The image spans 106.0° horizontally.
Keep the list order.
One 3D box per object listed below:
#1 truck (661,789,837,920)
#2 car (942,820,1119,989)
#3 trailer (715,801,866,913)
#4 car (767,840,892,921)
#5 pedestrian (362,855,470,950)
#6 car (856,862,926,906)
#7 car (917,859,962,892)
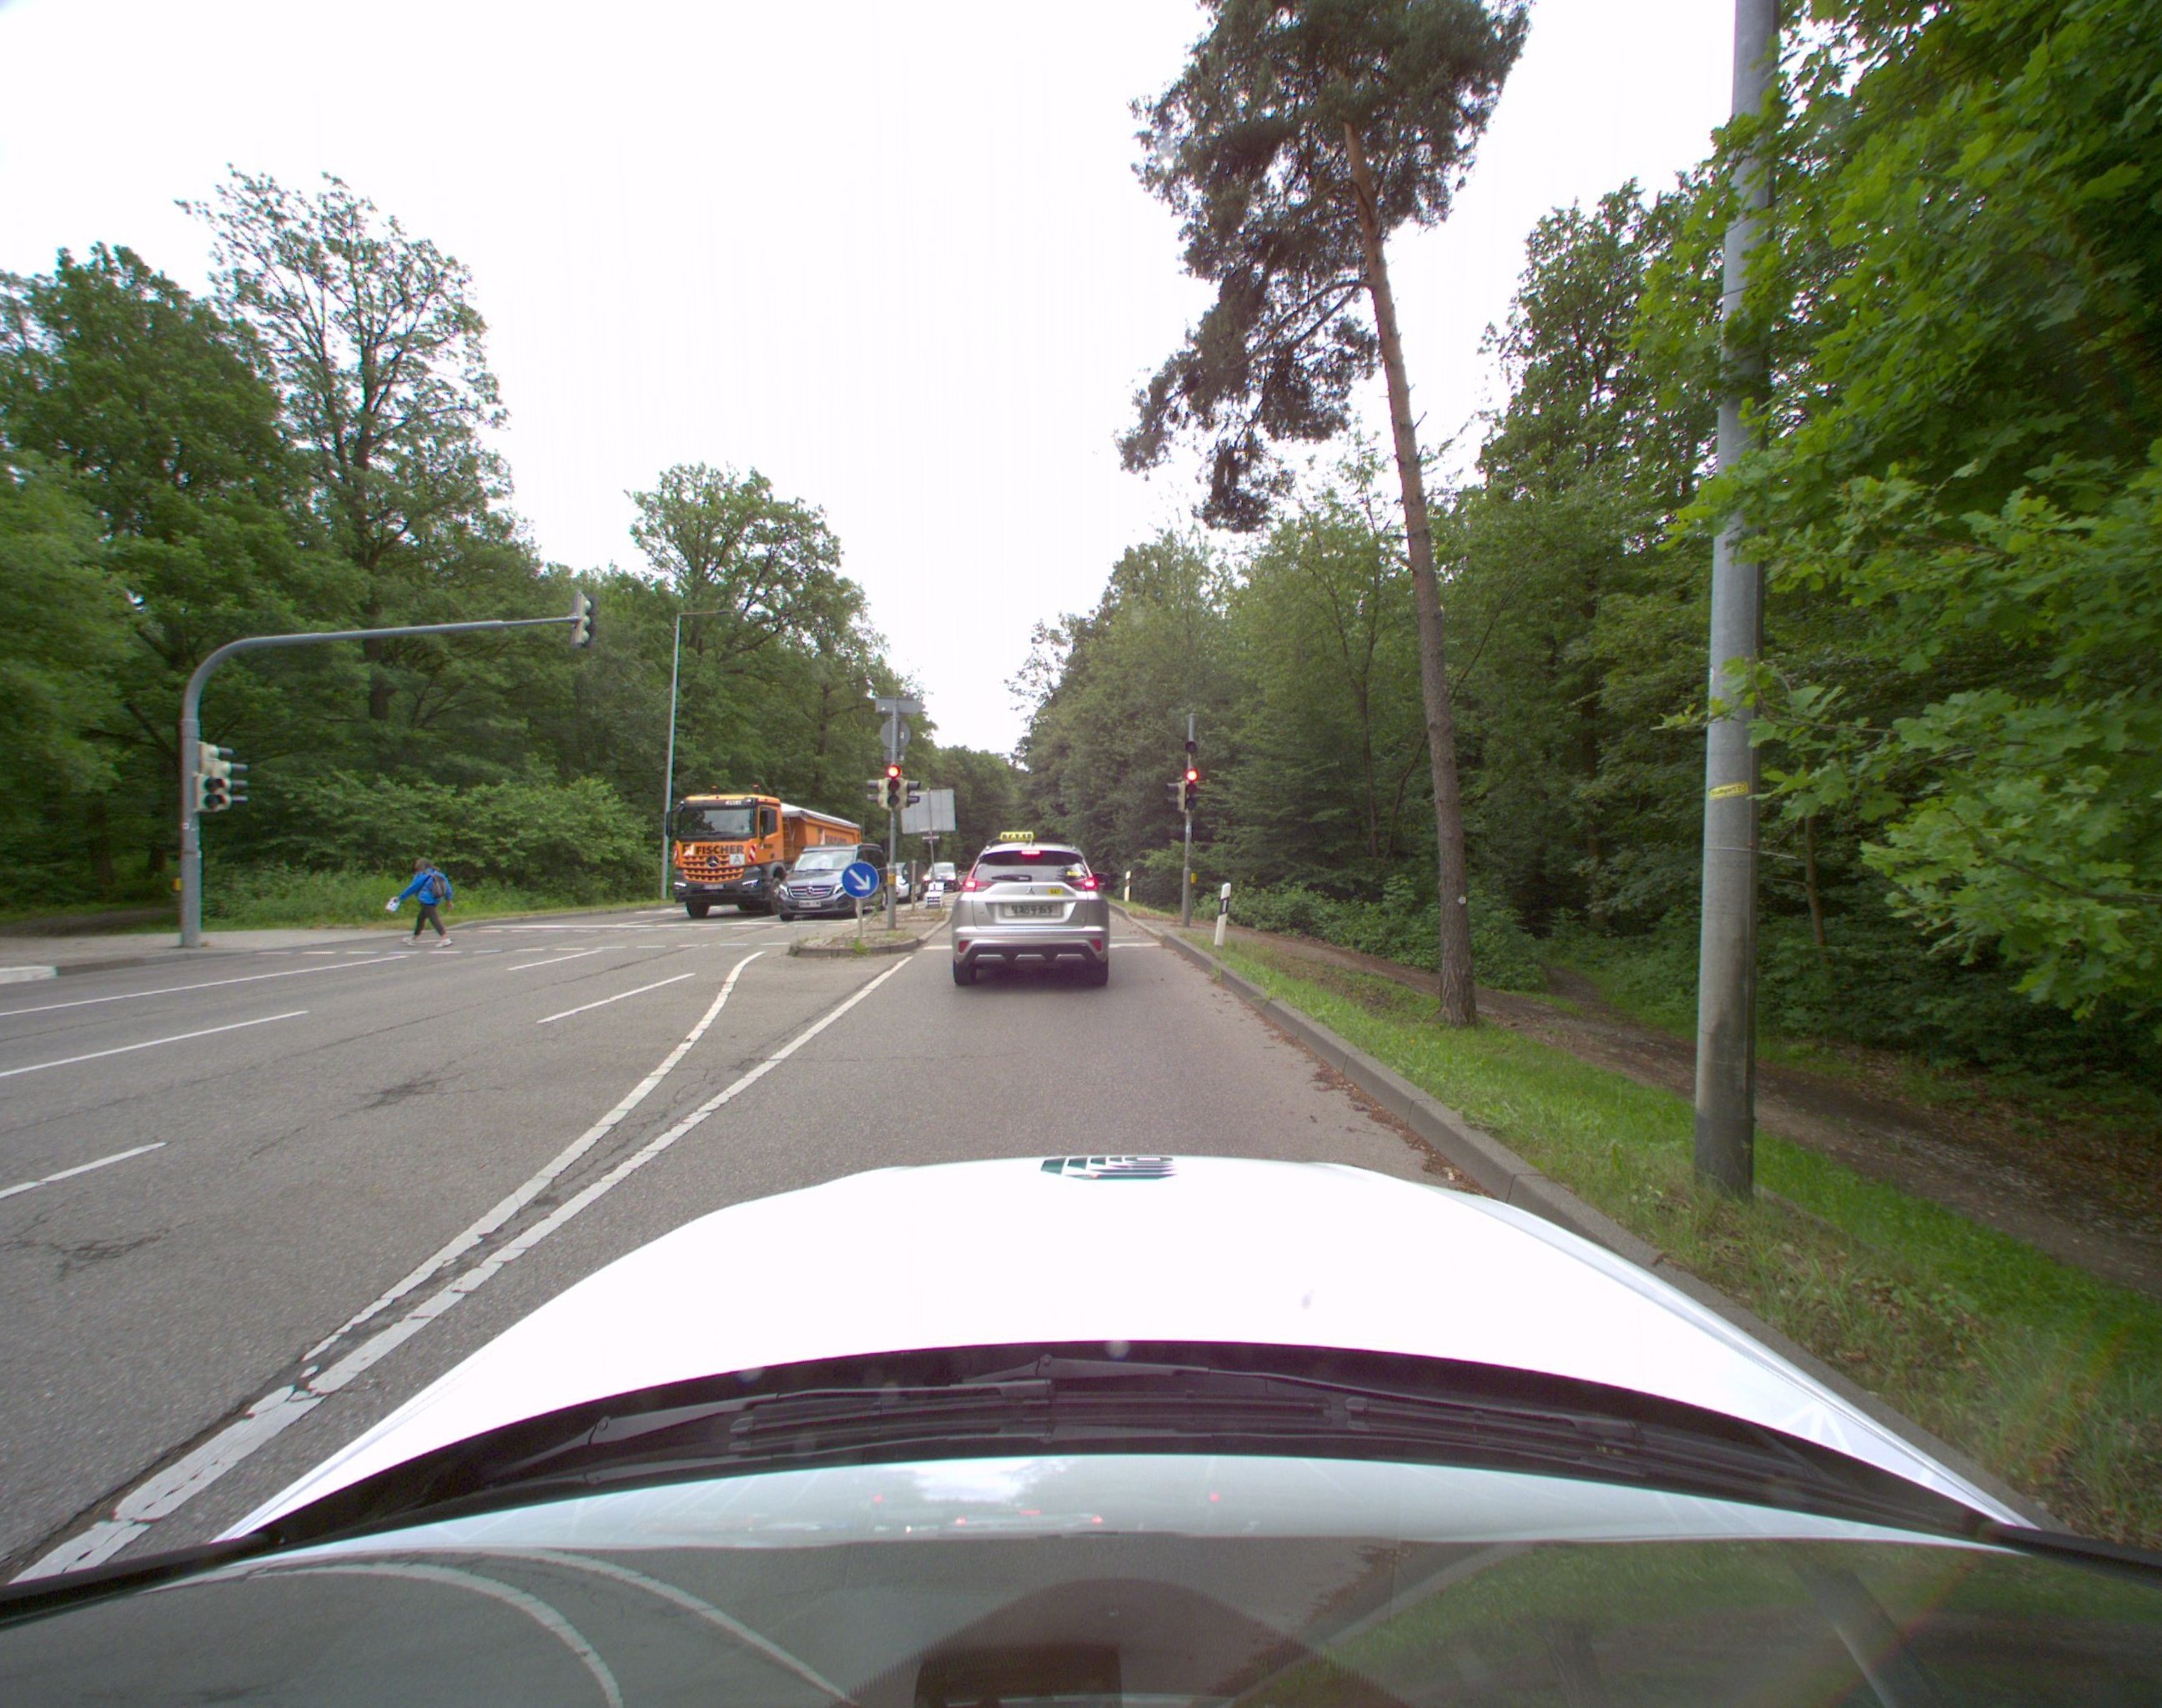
[{"bbox_3d":[-9.629,0.079,24.593,2.733,3.318,7.149,-1,-1,-4],"label":"truck"},{"bbox_3d":[-0.634,0.531,10.619,1.842,1.780,3.995,1,0,-3],"label":"car"},{"bbox_3d":[-9.895,0.159,28.884,2.733,3.318,8.557,-1,-1,-4],"label":"trailer"},{"bbox_3d":[-6.589,0.661,21.933,1.989,1.894,4.834,-2,-1,-2],"label":"car"},{"bbox_3d":[-12.125,0.856,14.883,1.042,1.649,1.070,-1,0,5],"label":"pedestrian"},{"bbox_3d":[-6.683,1.012,29.002,1.607,1.321,3.720,-3,0,-1],"label":"car"},{"bbox_3d":[-7.173,1.074,41.561,1.808,1.508,3.716,-3,-1,-4],"label":"car"}]
